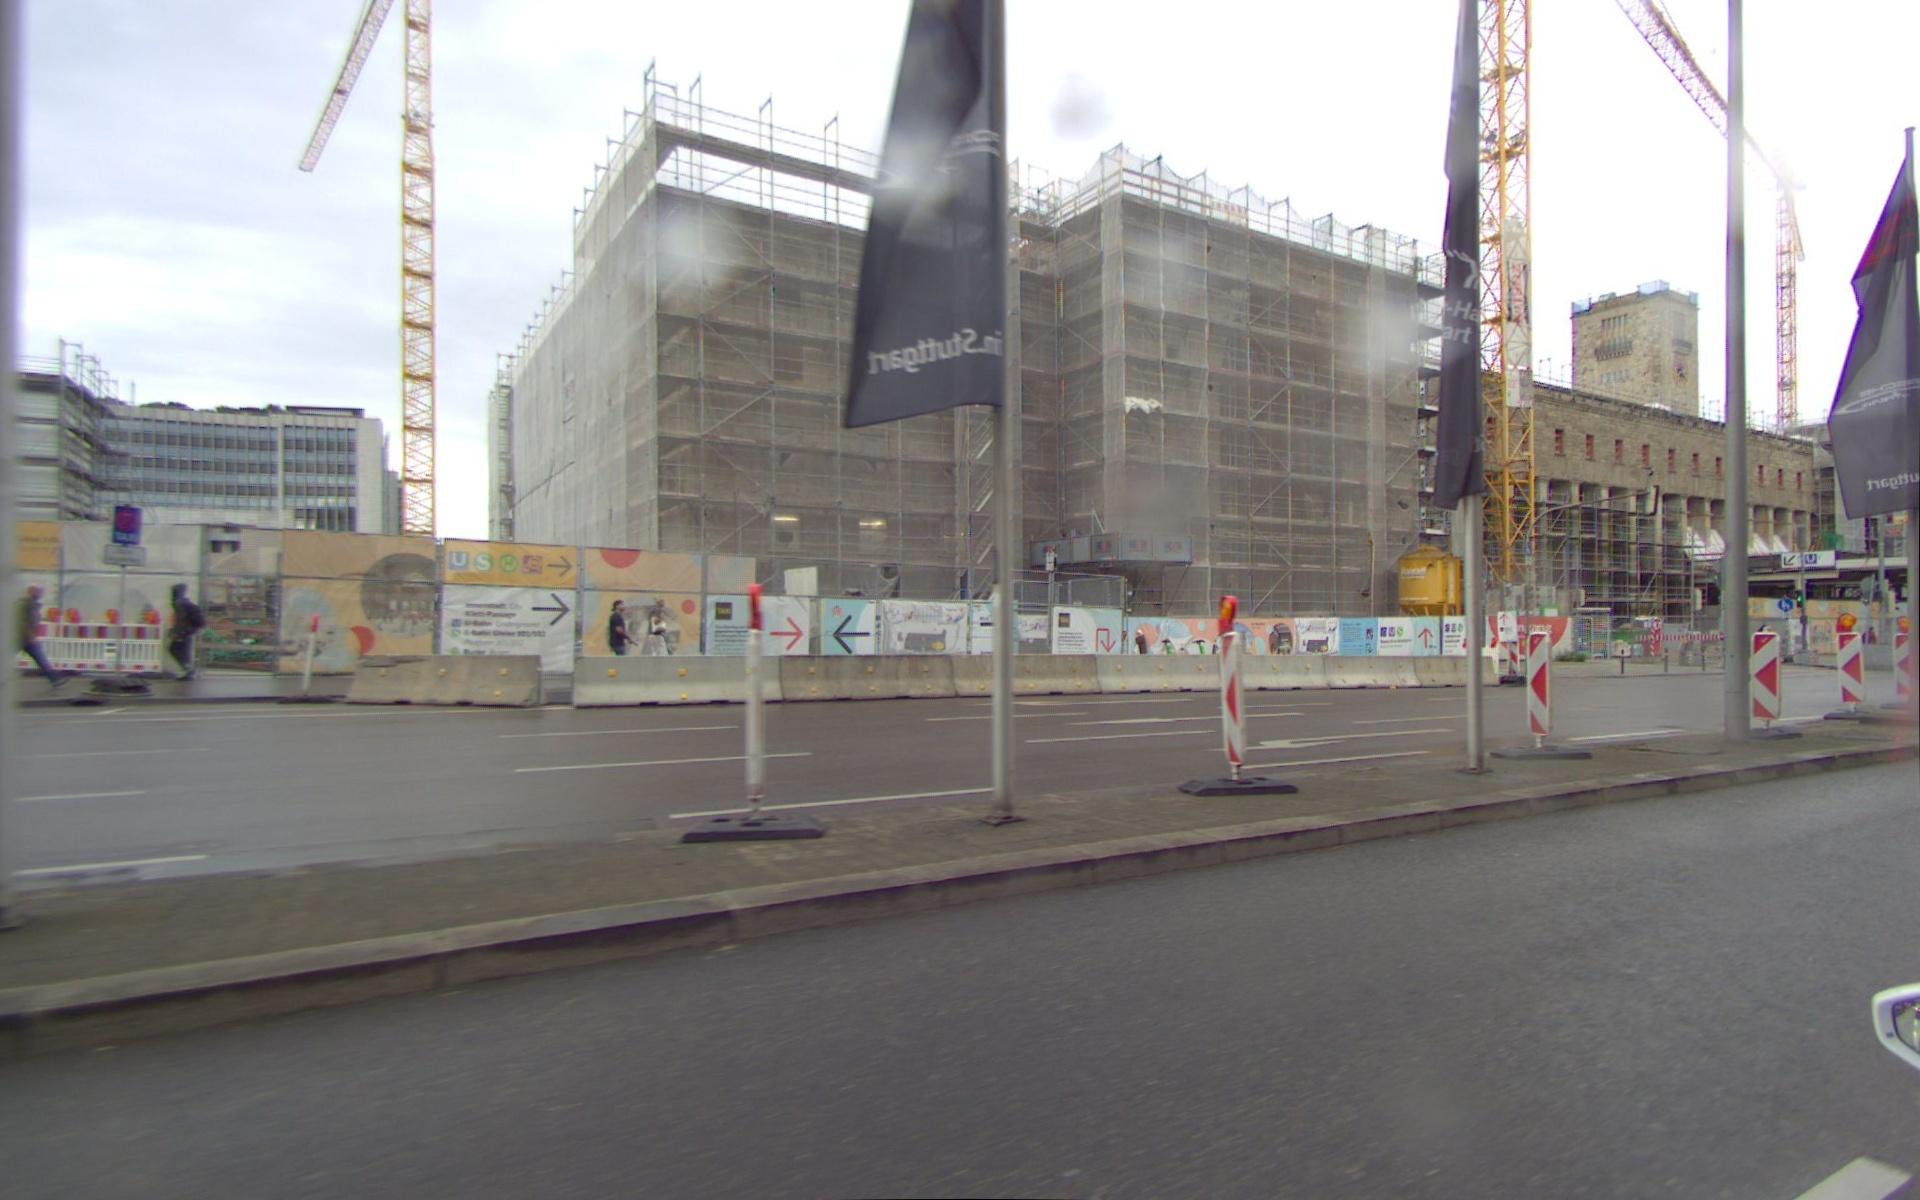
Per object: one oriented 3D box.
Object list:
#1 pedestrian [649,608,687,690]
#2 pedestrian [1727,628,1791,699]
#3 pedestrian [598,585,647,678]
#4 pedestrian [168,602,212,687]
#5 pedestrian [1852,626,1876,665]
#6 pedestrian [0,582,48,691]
[{"bbox_3d":[-6.713,1.124,23.112,0.709,1.860,0.478,2,0,-30],"label":"pedestrian"},{"bbox_3d":[20.398,1.612,25.666,0.646,1.774,1.091,2,-3,-32],"label":"pedestrian"},{"bbox_3d":[-6.843,0.632,20.387,0.810,1.860,0.576,2,0,-30],"label":"pedestrian"},{"bbox_3d":[-15.129,0.865,19.746,0.537,1.637,0.710,2,0,-29],"label":"pedestrian"},{"bbox_3d":[44.487,2.224,49.413,0.789,1.879,0.659,1,-1,-30],"label":"pedestrian"},{"bbox_3d":[-16.313,0.625,17.334,0.709,1.860,0.478,2,0,-30],"label":"pedestrian"}]
